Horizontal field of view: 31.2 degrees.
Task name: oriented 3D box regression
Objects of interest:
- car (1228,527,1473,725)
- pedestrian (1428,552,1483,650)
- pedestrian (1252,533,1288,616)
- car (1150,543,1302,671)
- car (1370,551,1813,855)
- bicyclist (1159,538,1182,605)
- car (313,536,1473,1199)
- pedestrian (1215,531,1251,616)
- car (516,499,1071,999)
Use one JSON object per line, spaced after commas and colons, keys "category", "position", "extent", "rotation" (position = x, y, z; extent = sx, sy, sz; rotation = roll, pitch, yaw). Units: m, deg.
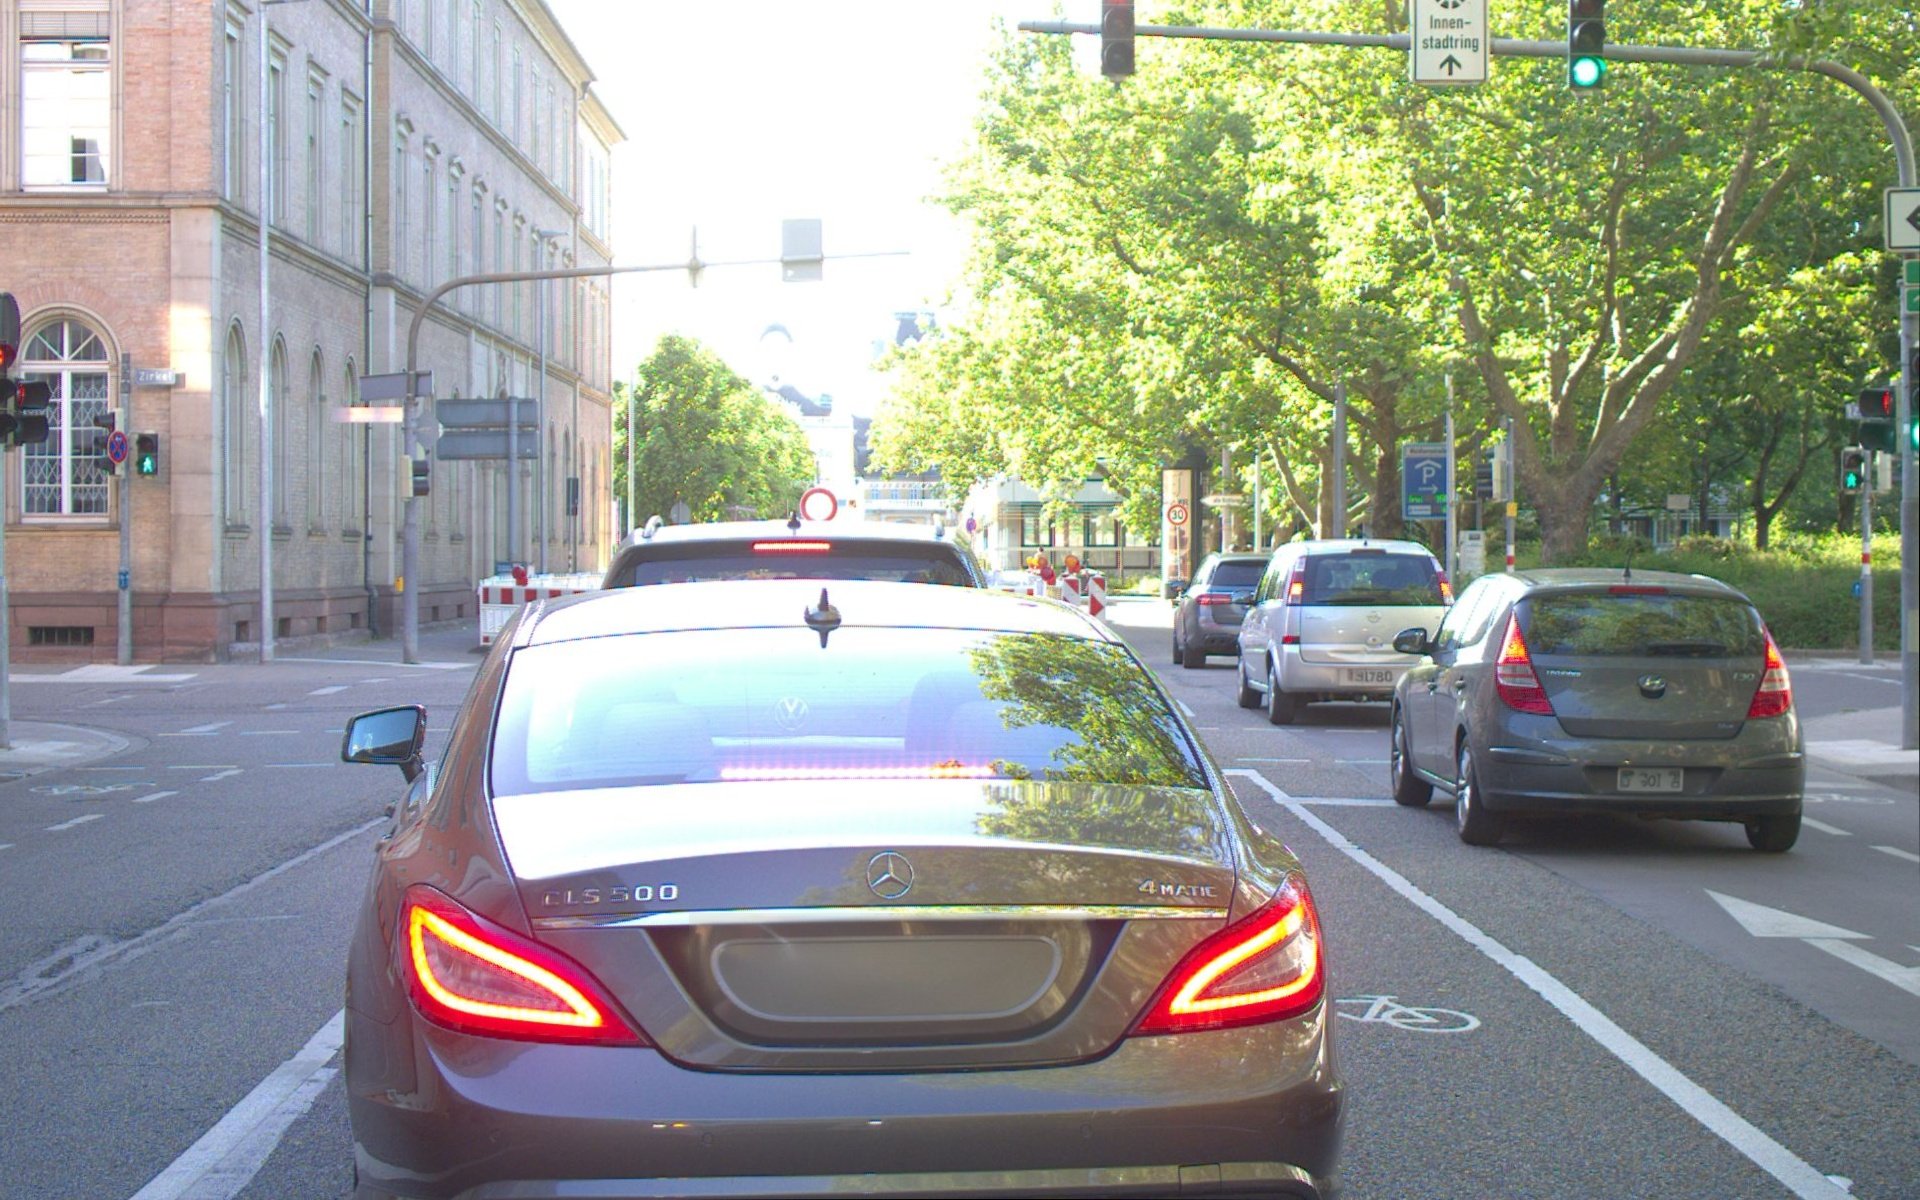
{"category": "car", "position": [3.455, 0.204, 31.009], "extent": [1.731, 1.656, 3.681], "rotation": [1, 1, -1]}
{"category": "pedestrian", "position": [7.889, 0.013, 54.780], "extent": [0.635, 1.540, 0.910], "rotation": [1, 0, -6]}
{"category": "pedestrian", "position": [6.566, -0.543, 72.750], "extent": [0.635, 1.754, 0.699], "rotation": [1, 0, -4]}
{"category": "car", "position": [3.359, 0.067, 43.977], "extent": [1.601, 1.543, 3.681], "rotation": [1, 1, -1]}
{"category": "car", "position": [3.434, 0.492, 19.383], "extent": [1.704, 1.514, 4.000], "rotation": [0, 1, -1]}
{"category": "bicyclist", "position": [6.426, -0.859, 105.007], "extent": [0.594, 2.032, 0.566], "rotation": [1, 0, -4]}
{"category": "car", "position": [-0.364, 0.626, 7.486], "extent": [1.861, 1.514, 4.001], "rotation": [0, 1, -8]}
{"category": "pedestrian", "position": [5.767, -0.560, 72.675], "extent": [0.635, 1.791, 0.699], "rotation": [1, 0, -4]}
{"category": "car", "position": [-0.584, 0.471, 13.616], "extent": [1.861, 1.677, 4.000], "rotation": [0, 1, -1]}
